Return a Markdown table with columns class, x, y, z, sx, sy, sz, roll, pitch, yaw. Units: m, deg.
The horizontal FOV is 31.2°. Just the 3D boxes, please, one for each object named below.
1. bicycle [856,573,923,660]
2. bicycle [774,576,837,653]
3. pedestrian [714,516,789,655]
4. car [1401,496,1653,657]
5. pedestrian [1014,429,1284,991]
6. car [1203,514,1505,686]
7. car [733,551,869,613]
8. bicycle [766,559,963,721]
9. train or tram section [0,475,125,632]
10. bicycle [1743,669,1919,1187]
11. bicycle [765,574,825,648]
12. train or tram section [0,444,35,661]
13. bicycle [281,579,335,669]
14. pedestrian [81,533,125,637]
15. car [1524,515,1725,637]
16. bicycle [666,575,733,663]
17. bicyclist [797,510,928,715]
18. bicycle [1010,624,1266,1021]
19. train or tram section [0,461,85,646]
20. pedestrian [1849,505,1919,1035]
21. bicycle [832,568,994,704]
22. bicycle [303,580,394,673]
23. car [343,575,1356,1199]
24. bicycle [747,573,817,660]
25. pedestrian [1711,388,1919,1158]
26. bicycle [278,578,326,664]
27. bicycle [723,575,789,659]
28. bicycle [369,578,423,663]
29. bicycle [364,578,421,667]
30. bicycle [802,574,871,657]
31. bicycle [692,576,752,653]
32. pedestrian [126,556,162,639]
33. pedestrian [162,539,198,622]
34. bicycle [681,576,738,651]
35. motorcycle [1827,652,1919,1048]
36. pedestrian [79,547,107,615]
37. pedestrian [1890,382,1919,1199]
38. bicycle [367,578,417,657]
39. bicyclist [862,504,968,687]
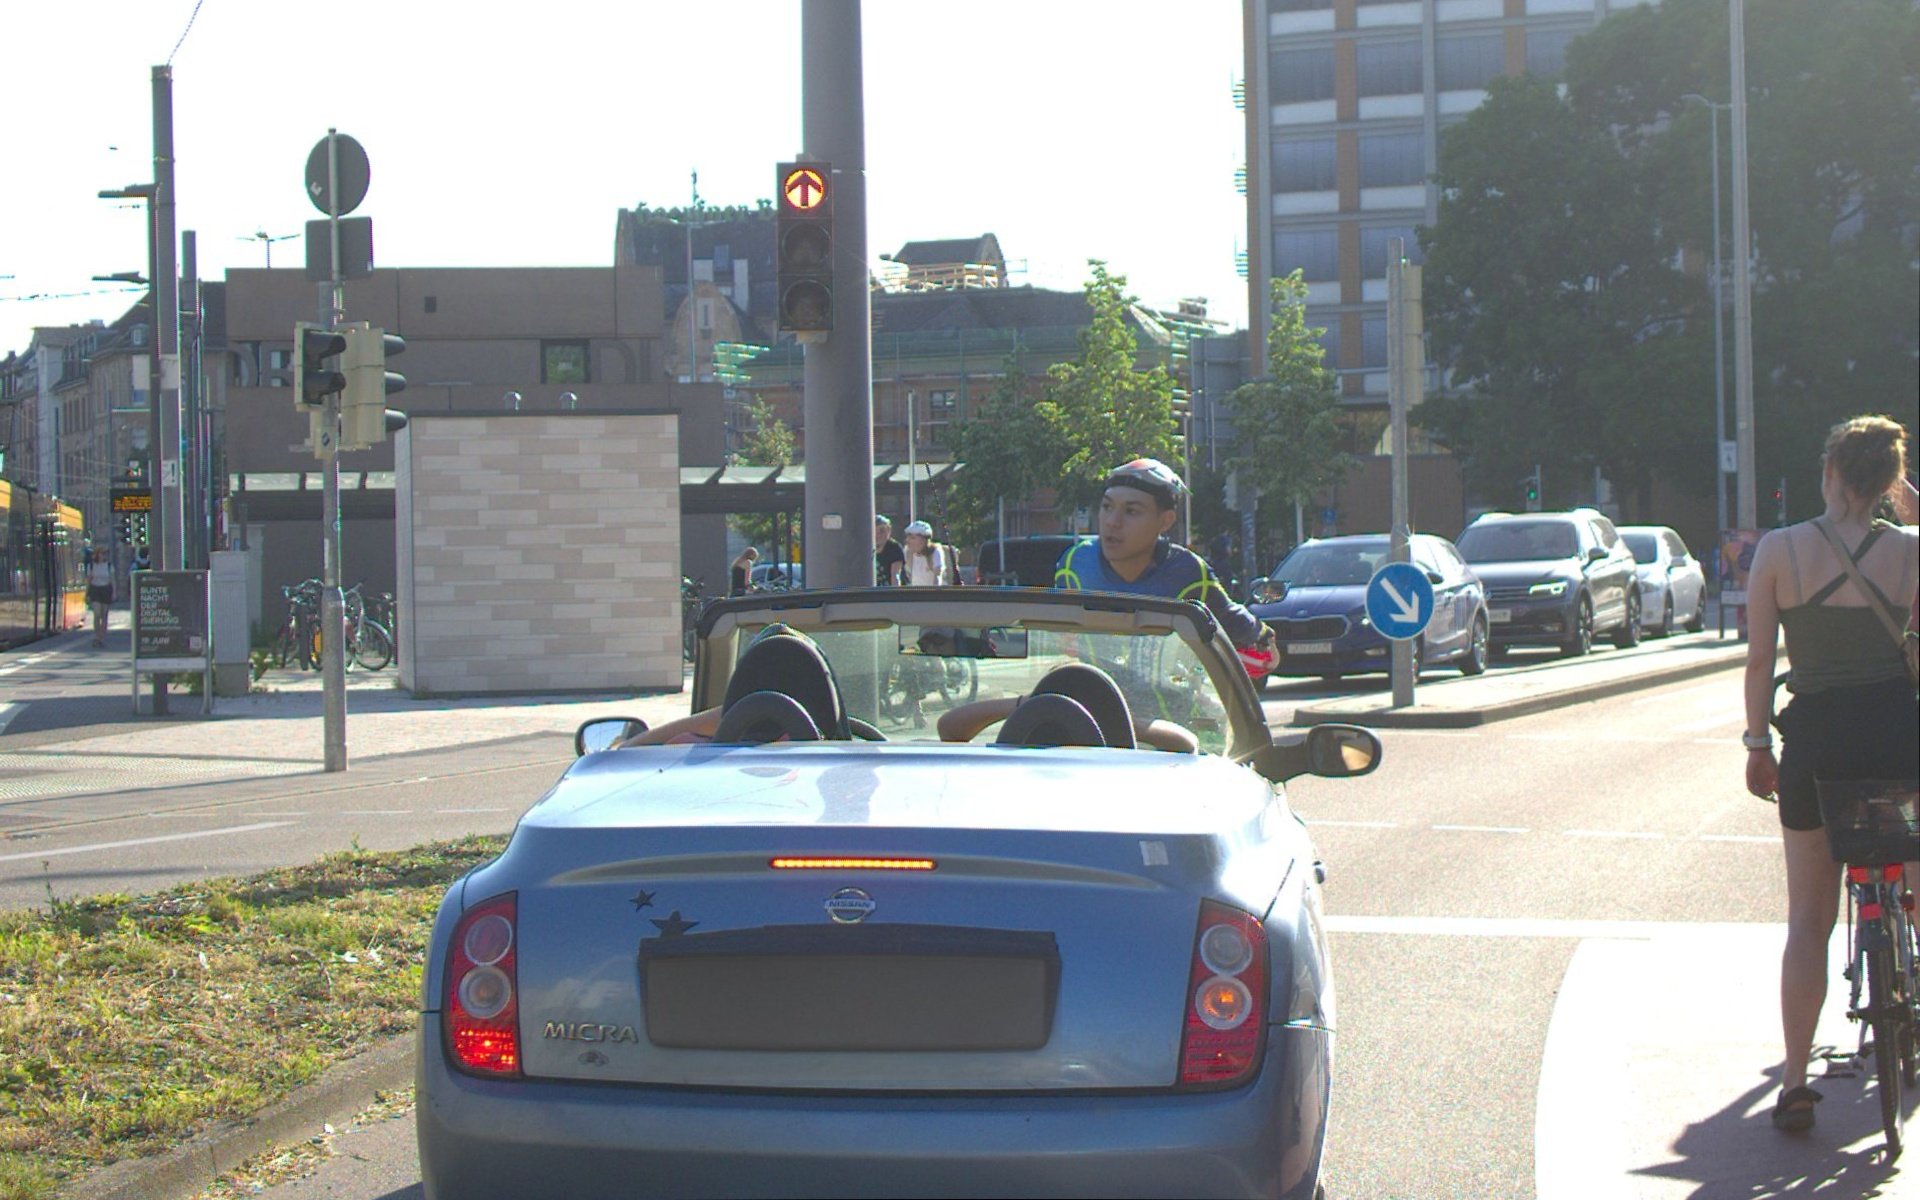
| class | x | y | z | sx | sy | sz | roll | pitch | yaw |
| --- | --- | --- | --- | --- | --- | --- | --- | --- | --- |
| bicycle | -0.946 | 0.208 | 45.563 | 0.606 | 1.111 | 1.897 | 1 | 1 | -10 |
| bicycle | -2.312 | 0.208 | 51.268 | 0.606 | 1.111 | 1.897 | 1 | 1 | -12 |
| pedestrian | -2.848 | -0.201 | 46.853 | 0.900 | 1.862 | 0.687 | 1 | 0 | -12 |
| car | 6.621 | -0.295 | 39.744 | 1.763 | 1.700 | 4.525 | -2 | 0 | 24 |
| pedestrian | 0.674 | 0.360 | 11.962 | 0.833 | 1.862 | 0.920 | 1 | 0 | 8 |
| car | 3.916 | -0.013 | 33.630 | 1.739 | 1.568 | 3.919 | 1 | 1 | 25 |
| car | -4.120 | -0.456 | 88.685 | 1.640 | 1.555 | 3.599 | -2 | 1 | -39 |
| bicycle | -0.772 | 0.313 | 28.849 | 0.675 | 1.246 | 2.454 | -3 | 0 | 22 |
| train or tram section | -22.575 | -1.140 | 84.594 | 3.039 | 3.584 | 12.055 | 1 | 1 | -9 |
| bicycle | 2.369 | 0.785 | 8.974 | 0.564 | 1.147 | 1.948 | 1 | 1 | 14 |
| bicycle | -2.560 | 0.162 | 53.240 | 0.606 | 1.111 | 1.897 | 1 | 1 | -12 |
| train or tram section | -18.165 | -0.851 | 60.677 | 2.880 | 3.584 | 12.203 | 1 | 1 | -12 |
| bicycle | -8.364 | 0.300 | 44.067 | 0.606 | 1.111 | 1.897 | 1 | 1 | -12 |
| pedestrian | -14.602 | -0.253 | 58.573 | 0.637 | 1.743 | 0.572 | -1 | 1 | -19 |
| car | 9.002 | -0.346 | 46.326 | 1.697 | 1.555 | 3.974 | -1 | 1 | 25 |
| bicycle | -3.429 | 0.237 | 45.120 | 0.606 | 1.111 | 1.897 | 1 | 1 | -12 |
| bicyclist | -0.812 | 0.099 | 28.778 | 0.709 | 1.651 | 0.900 | -3 | 0 | 22 |
| bicycle | 0.658 | 0.699 | 11.898 | 0.608 | 1.187 | 2.414 | 1 | 1 | 9 |
| train or tram section | -20.507 | -0.992 | 72.667 | 3.011 | 3.584 | 12.203 | 1 | 1 | -10 |
| pedestrian | 3.133 | 0.512 | 10.811 | 0.588 | 1.593 | 1.024 | 1 | 0 | 17 |
| bicycle | -0.407 | 0.310 | 31.463 | 0.675 | 1.176 | 2.181 | -1 | 1 | 22 |
| bicycle | -7.544 | 0.318 | 42.462 | 0.607 | 1.111 | 1.896 | 1 | 1 | 5 |
| car | 0.033 | 0.677 | 7.689 | 1.660 | 1.436 | 4.153 | 1 | 1 | 6 |
| bicycle | -2.356 | 0.205 | 45.261 | 0.606 | 1.111 | 1.897 | 1 | 1 | -12 |
| pedestrian | 2.287 | 0.415 | 8.781 | 0.659 | 1.862 | 0.872 | 1 | 0 | 15 |
| bicycle | -8.798 | 0.276 | 45.992 | 0.606 | 1.111 | 1.897 | 1 | 1 | -11 |
| bicycle | -2.806 | 0.225 | 47.193 | 0.606 | 1.111 | 1.897 | 1 | 1 | -12 |
| bicycle | -7.628 | 0.267 | 46.461 | 0.606 | 1.111 | 1.897 | 1 | 1 | -12 |
| bicycle | -7.339 | 0.278 | 44.398 | 0.606 | 1.111 | 1.897 | 1 | 1 | -12 |
| bicycle | -1.720 | 0.204 | 47.580 | 0.606 | 1.111 | 1.897 | 1 | 1 | -12 |
| bicycle | -3.542 | 0.210 | 51.066 | 0.606 | 1.111 | 1.897 | 1 | 1 | -12 |
| pedestrian | -17.251 | -0.054 | 72.641 | 0.637 | 1.743 | 0.736 | -1 | 1 | -19 |
| pedestrian | -16.628 | -0.417 | 73.313 | 0.637 | 1.743 | 0.736 | -1 | 1 | -19 |
| bicycle | -3.873 | 0.199 | 53.033 | 0.606 | 1.111 | 1.897 | 1 | 1 | -12 |
| motorcycle | 3.174 | 0.746 | 11.076 | 0.614 | 1.094 | 2.358 | 1 | 1 | 17 |
| pedestrian | -22.663 | -0.505 | 89.872 | 0.604 | 1.743 | 0.832 | -1 | 1 | -8 |
| pedestrian | 2.490 | 0.456 | 7.394 | 0.806 | 1.862 | 0.956 | 1 | 0 | 8 |
| bicycle | -8.329 | 0.245 | 50.336 | 0.606 | 1.111 | 1.897 | 1 | 1 | -12 |
| bicyclist | -0.408 | -0.046 | 31.484 | 0.709 | 1.651 | 0.742 | -1 | 1 | 22 |
